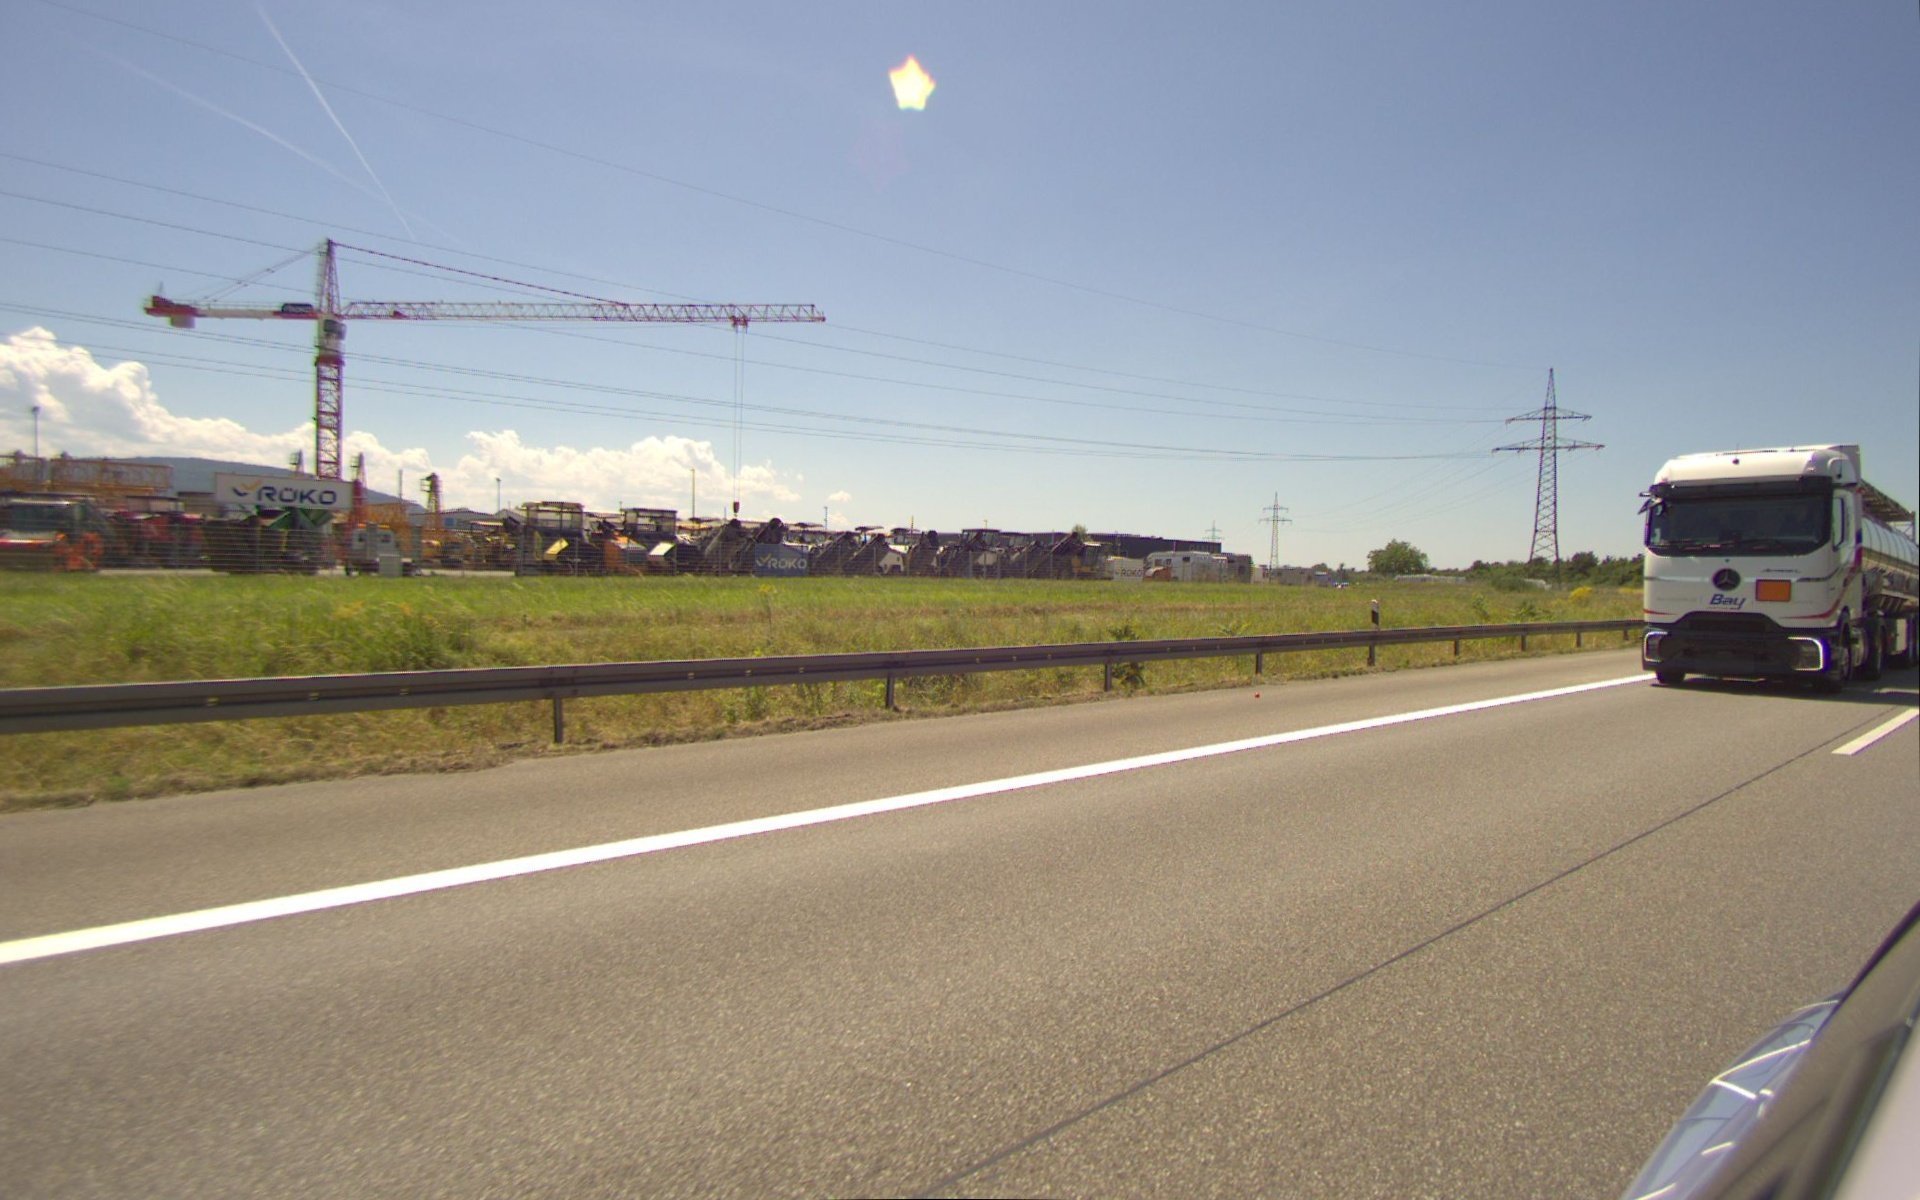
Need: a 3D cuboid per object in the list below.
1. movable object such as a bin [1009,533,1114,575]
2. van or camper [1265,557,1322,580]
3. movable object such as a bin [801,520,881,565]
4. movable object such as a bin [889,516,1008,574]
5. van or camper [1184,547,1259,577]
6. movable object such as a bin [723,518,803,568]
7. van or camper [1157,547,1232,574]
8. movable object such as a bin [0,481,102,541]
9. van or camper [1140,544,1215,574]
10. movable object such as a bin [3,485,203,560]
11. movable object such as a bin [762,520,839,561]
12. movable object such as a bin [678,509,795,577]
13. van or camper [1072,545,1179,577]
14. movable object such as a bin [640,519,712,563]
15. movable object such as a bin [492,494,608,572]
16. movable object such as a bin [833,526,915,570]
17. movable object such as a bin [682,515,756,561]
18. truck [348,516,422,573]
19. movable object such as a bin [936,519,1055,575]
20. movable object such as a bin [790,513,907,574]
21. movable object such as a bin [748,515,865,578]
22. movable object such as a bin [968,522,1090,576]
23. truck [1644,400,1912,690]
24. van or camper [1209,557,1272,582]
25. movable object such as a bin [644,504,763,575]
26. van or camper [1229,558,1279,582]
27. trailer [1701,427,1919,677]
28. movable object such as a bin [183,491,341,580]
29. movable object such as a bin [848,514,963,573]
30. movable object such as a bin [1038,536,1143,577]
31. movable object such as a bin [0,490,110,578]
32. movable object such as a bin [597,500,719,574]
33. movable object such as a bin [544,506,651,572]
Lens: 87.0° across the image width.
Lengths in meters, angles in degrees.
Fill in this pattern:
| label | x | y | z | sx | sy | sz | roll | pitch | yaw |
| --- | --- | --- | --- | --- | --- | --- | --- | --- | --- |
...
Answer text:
| label | x | y | z | sx | sy | sz | roll | pitch | yaw |
| --- | --- | --- | --- | --- | --- | --- | --- | --- | --- |
| movable object such as a bin | 7.789 | -3.649 | 79.202 | 2.902 | 3.043 | 8.755 | 0 | 3 | -38 |
| van or camper | 42.699 | -4.028 | 129.693 | 2.380 | 2.801 | 6.457 | 0 | 2 | -42 |
| movable object such as a bin | -10.383 | -4.969 | 87.292 | 2.867 | 3.615 | 9.075 | 0 | 3 | -35 |
| movable object such as a bin | -0.994 | -3.891 | 71.036 | 2.922 | 3.734 | 9.746 | 0 | 3 | -38 |
| van or camper | 23.672 | -3.448 | 91.921 | 2.394 | 2.584 | 6.360 | 1 | 2 | -38 |
| movable object such as a bin | -16.452 | -4.739 | 83.834 | 3.076 | 3.884 | 8.778 | 0 | 3 | -35 |
| van or camper | 20.659 | -3.495 | 89.430 | 2.555 | 2.247 | 6.133 | 0 | 2 | -38 |
| movable object such as a bin | -50.236 | -4.680 | 53.395 | 2.944 | 2.981 | 11.254 | 1 | 3 | -15 |
| van or camper | 18.741 | -3.587 | 87.547 | 2.555 | 2.431 | 6.133 | 0 | 2 | -38 |
| movable object such as a bin | -47.221 | -4.188 | 56.460 | 2.911 | 3.654 | 11.752 | 2 | 3 | -9 |
| movable object such as a bin | -13.596 | -5.067 | 85.601 | 2.867 | 3.187 | 8.720 | 0 | 3 | -35 |
| movable object such as a bin | -13.671 | -3.496 | 61.195 | 2.631 | 3.734 | 9.740 | 0 | 3 | -40 |
| van or camper | 14.054 | -3.371 | 86.579 | 3.103 | 2.552 | 9.337 | 0 | 2 | -38 |
| movable object such as a bin | -22.236 | -4.627 | 78.971 | 2.867 | 3.188 | 8.008 | 0 | 3 | -35 |
| movable object such as a bin | -21.996 | -3.573 | 53.823 | 2.617 | 3.734 | 10.277 | 0 | 3 | -40 |
| movable object such as a bin | -7.682 | -4.627 | 89.120 | 2.867 | 3.615 | 9.075 | 0 | 3 | -35 |
| movable object such as a bin | -19.532 | -5.030 | 81.656 | 2.867 | 3.466 | 8.216 | 0 | 3 | -35 |
| truck | -27.219 | -2.620 | 47.776 | 2.606 | 2.493 | 5.567 | 0 | 3 | -34 |
| movable object such as a bin | 2.413 | -3.917 | 73.642 | 2.922 | 3.734 | 9.744 | 0 | 3 | -39 |
| movable object such as a bin | -7.517 | -3.754 | 66.532 | 2.631 | 3.734 | 9.740 | 0 | 3 | -40 |
| movable object such as a bin | -9.964 | -3.495 | 64.641 | 2.631 | 3.734 | 9.740 | 0 | 3 | -40 |
| movable object such as a bin | 5.010 | -3.901 | 76.020 | 3.356 | 3.734 | 9.746 | 0 | 3 | -38 |
| truck | 14.264 | -0.788 | 17.467 | 6.281 | 4.124 | 2.577 | 0 | 0 | -41 |
| van or camper | 32.681 | -3.615 | 117.994 | 3.267 | 2.710 | 6.364 | 0 | 2 | -41 |
| movable object such as a bin | -14.990 | -3.515 | 58.321 | 2.351 | 3.734 | 10.277 | 0 | 3 | -40 |
| van or camper | 35.934 | -3.675 | 123.690 | 2.572 | 2.710 | 5.266 | 0 | 2 | -42 |
| trailer | 18.585 | -0.791 | 21.286 | 10.910 | 4.126 | 2.584 | 0 | 0 | -41 |
| movable object such as a bin | -30.728 | -2.827 | 45.142 | 2.468 | 3.456 | 10.314 | 1 | 3 | -15 |
| movable object such as a bin | -3.850 | -3.887 | 68.654 | 2.585 | 3.734 | 9.746 | 0 | 3 | -38 |
| movable object such as a bin | 10.329 | -3.535 | 81.399 | 3.154 | 3.043 | 8.760 | 0 | 3 | -36 |
| movable object such as a bin | -36.777 | -2.652 | 40.744 | 2.469 | 3.235 | 5.862 | 1 | 3 | -25 |
| movable object such as a bin | -17.076 | -3.563 | 56.669 | 2.617 | 3.734 | 10.277 | 0 | 3 | -40 |
| movable object such as a bin | -20.119 | -3.406 | 55.804 | 2.488 | 3.348 | 9.126 | 0 | 3 | -40 |
